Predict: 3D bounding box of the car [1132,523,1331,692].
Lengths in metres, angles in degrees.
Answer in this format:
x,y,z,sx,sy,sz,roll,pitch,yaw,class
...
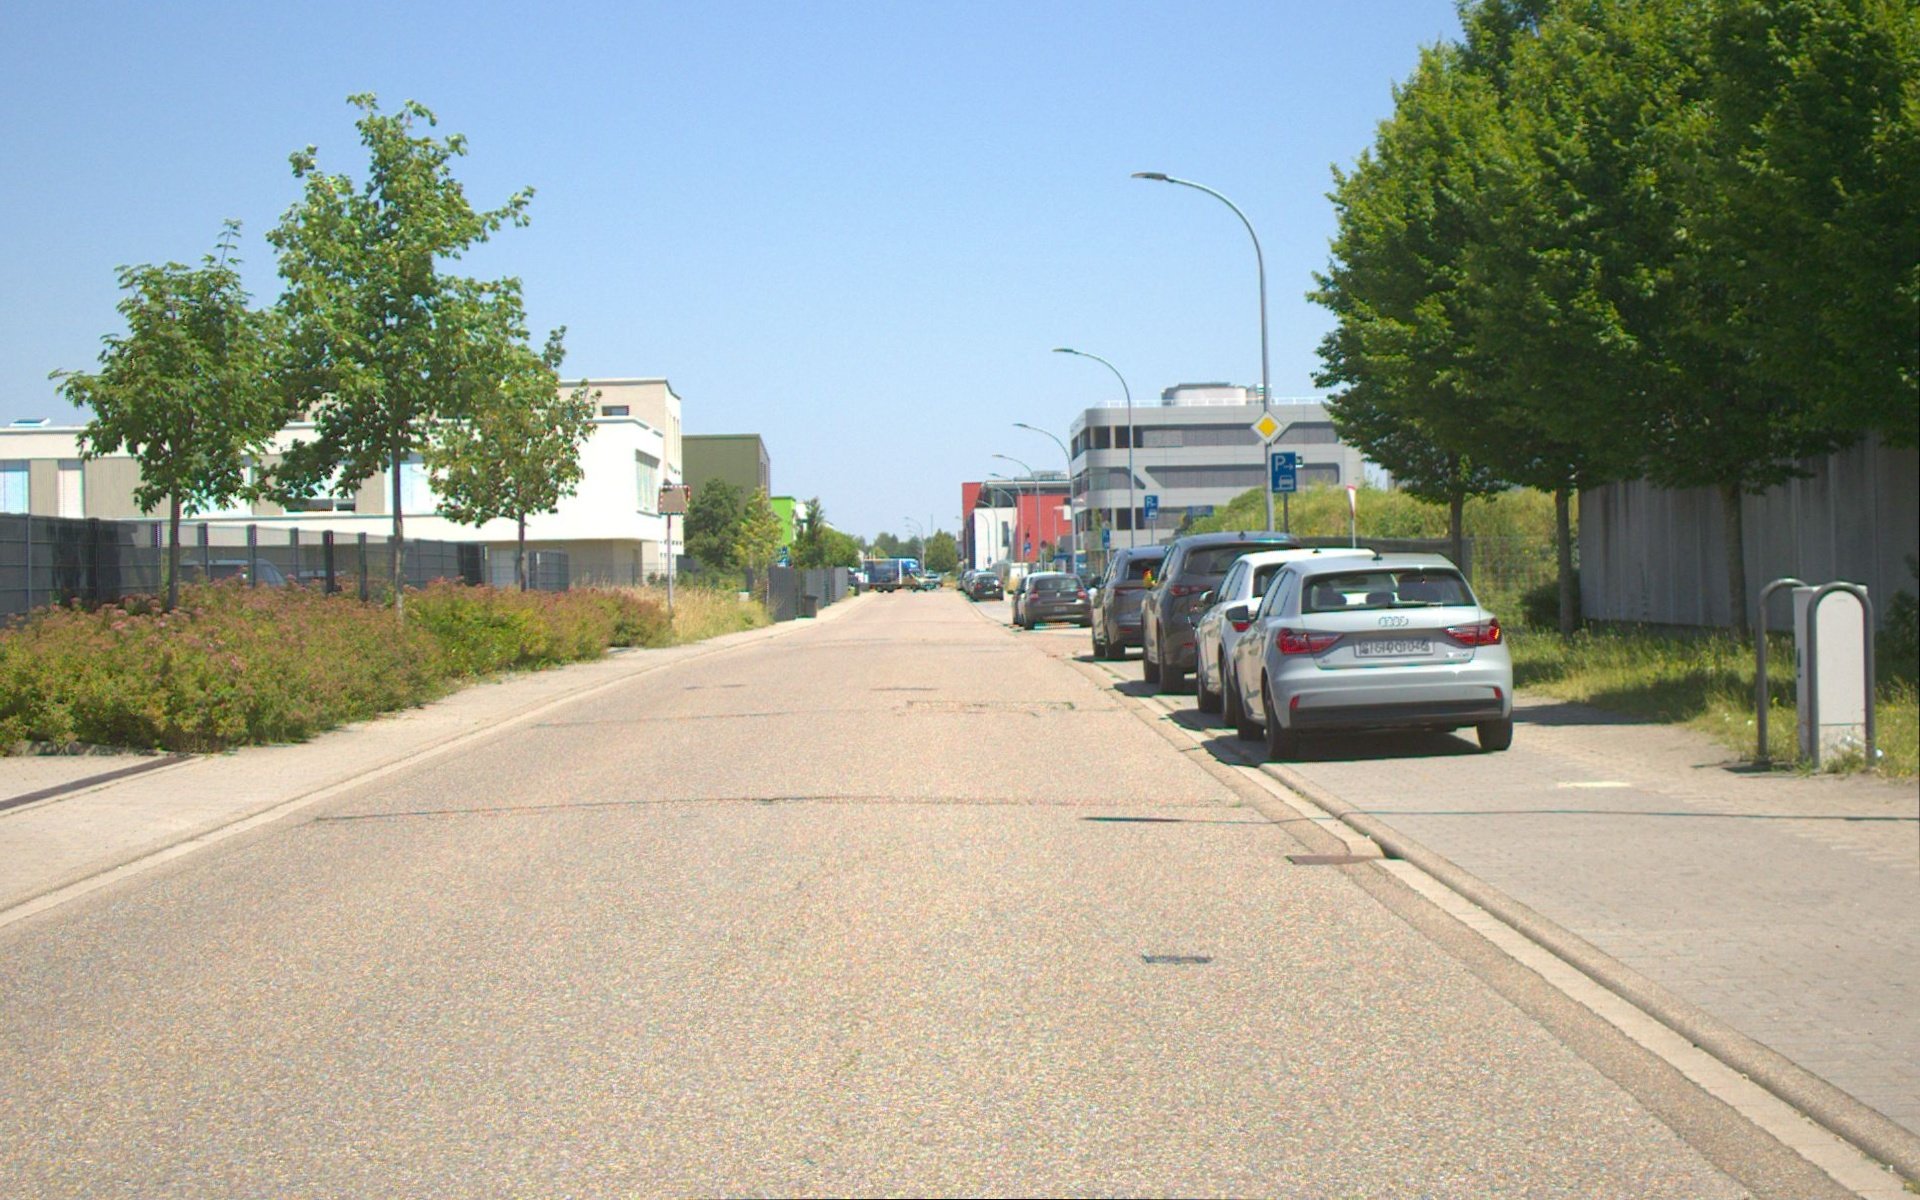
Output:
x,y,z,sx,sy,sz,roll,pitch,yaw,class
2.881,0.044,37.282,1.757,1.657,4.363,-2,1,0,car

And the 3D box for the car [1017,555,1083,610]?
x,y,z,sx,sy,sz,roll,pitch,yaw,class
2.756,-0.540,104.838,1.908,1.541,4.000,-2,0,2,car

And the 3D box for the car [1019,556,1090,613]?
x,y,z,sx,sy,sz,roll,pitch,yaw,class
2.736,-0.453,98.667,1.908,1.541,4.000,-2,0,2,car

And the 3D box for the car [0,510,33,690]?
x,y,z,sx,sy,sz,roll,pitch,yaw,class
-12.176,-0.005,38.867,2.001,2.091,4.694,1,1,1,car

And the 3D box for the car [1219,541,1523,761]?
x,y,z,sx,sy,sz,roll,pitch,yaw,class
2.961,0.319,25.499,1.716,1.418,3.951,-3,1,0,car

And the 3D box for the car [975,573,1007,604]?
x,y,z,sx,sy,sz,roll,pitch,yaw,class
1.777,-0.682,200.648,1.776,1.722,4.000,1,1,0,car

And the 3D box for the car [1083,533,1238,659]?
x,y,z,sx,sy,sz,roll,pitch,yaw,class
2.876,-0.093,50.147,1.803,1.656,4.608,-3,1,-1,car

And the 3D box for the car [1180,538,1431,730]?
x,y,z,sx,sy,sz,roll,pitch,yaw,class
2.949,0.246,30.083,1.716,1.476,4.031,-3,1,0,car

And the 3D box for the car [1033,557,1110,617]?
x,y,z,sx,sy,sz,roll,pitch,yaw,class
2.919,-0.353,89.750,1.908,1.443,4.000,-2,0,2,car
